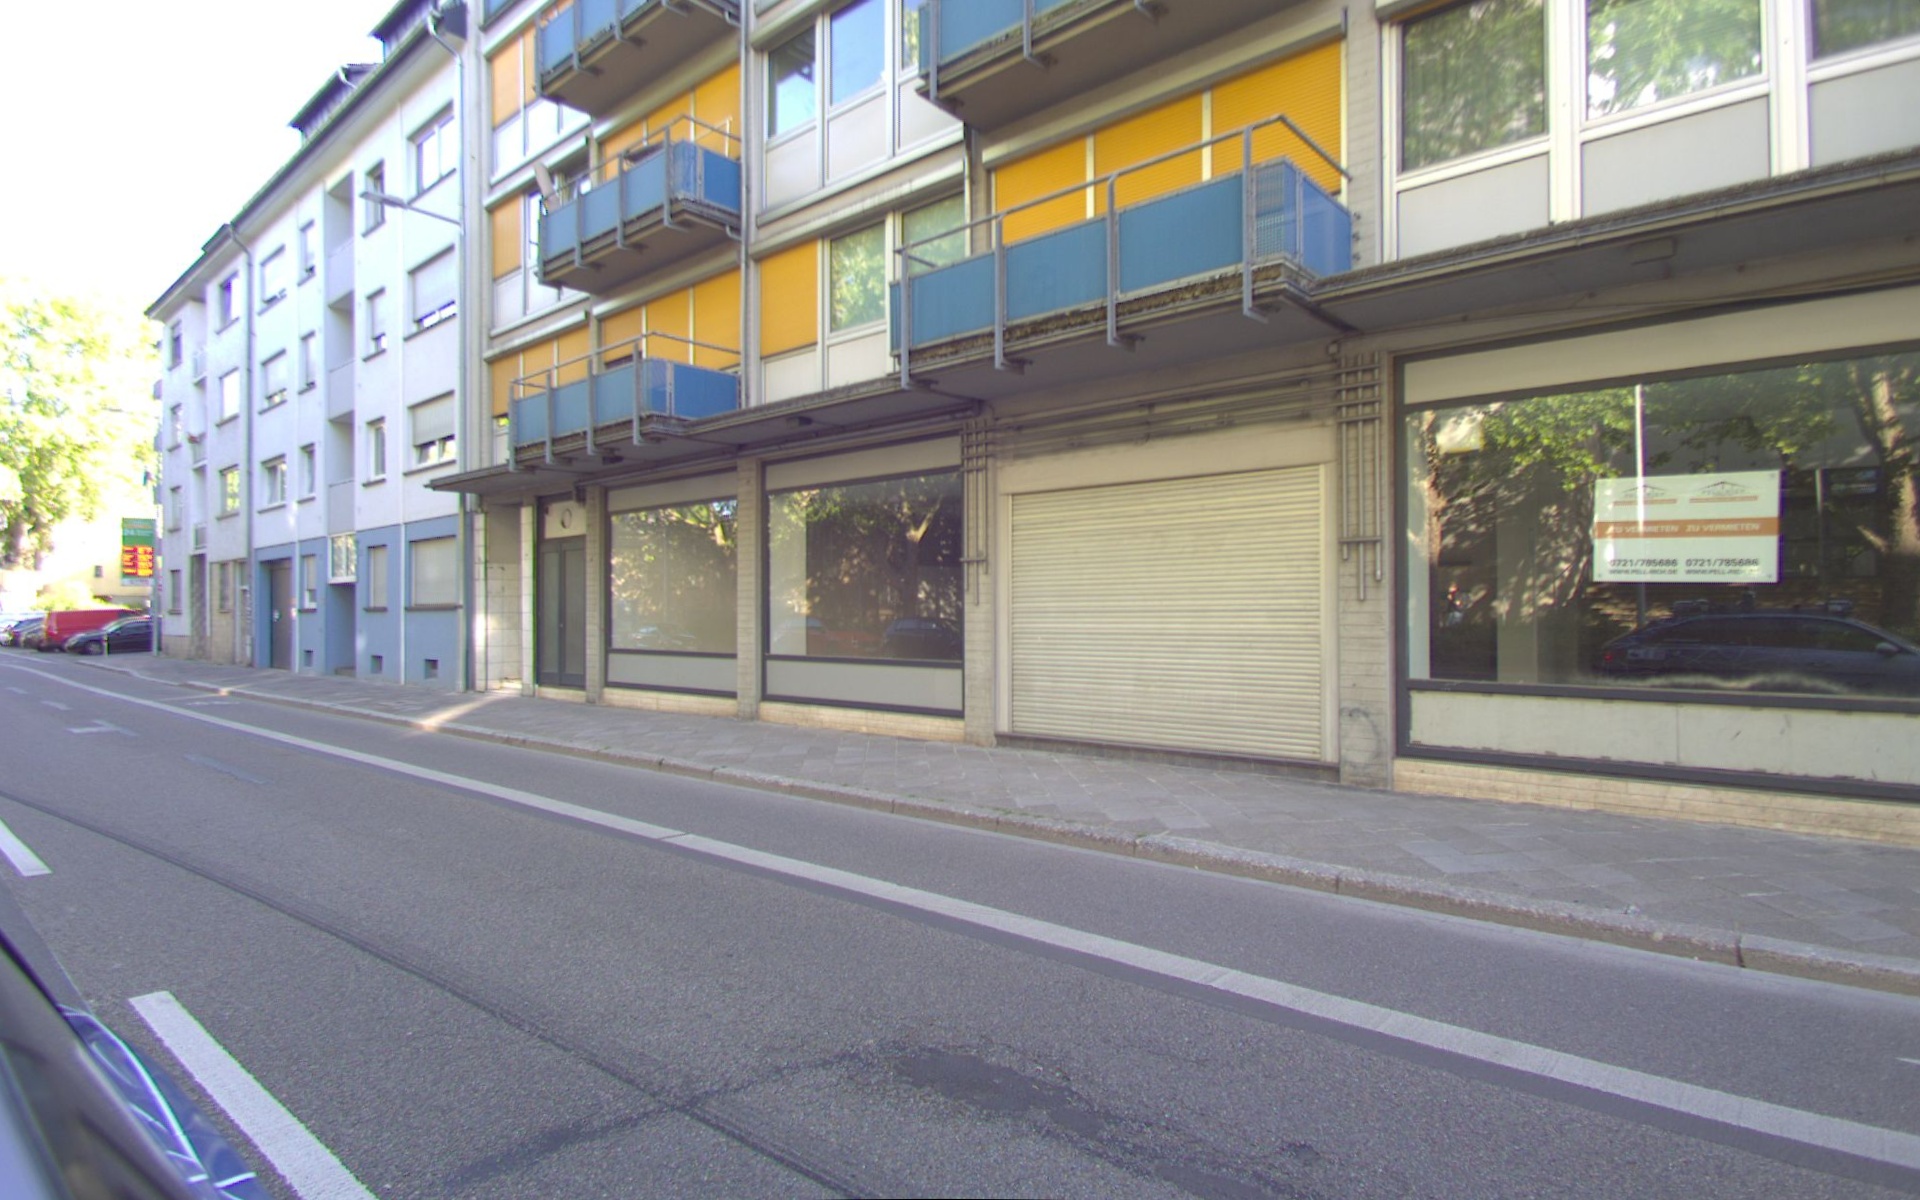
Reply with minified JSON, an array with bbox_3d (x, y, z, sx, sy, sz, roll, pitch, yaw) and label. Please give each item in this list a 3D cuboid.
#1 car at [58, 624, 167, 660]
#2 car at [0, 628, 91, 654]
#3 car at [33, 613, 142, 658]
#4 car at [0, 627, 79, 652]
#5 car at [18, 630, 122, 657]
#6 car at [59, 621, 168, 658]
[{"bbox_3d":[-36.683,1.800,43.844,1.490,1.398,3.462,-1,0,43],"label":"car"},{"bbox_3d":[-50.454,2.230,55.875,1.345,1.254,3.638,-1,0,42],"label":"car"},{"bbox_3d":[-40.659,1.637,47.224,1.488,1.923,3.642,-4,-2,39],"label":"car"},{"bbox_3d":[-52.268,2.237,57.504,1.345,1.254,3.228,-1,0,43],"label":"car"},{"bbox_3d":[-42.821,2.062,48.739,1.345,1.137,3.638,-1,0,42],"label":"car"},{"bbox_3d":[-38.200,1.757,45.724,1.490,1.523,3.638,-1,0,43],"label":"car"}]
